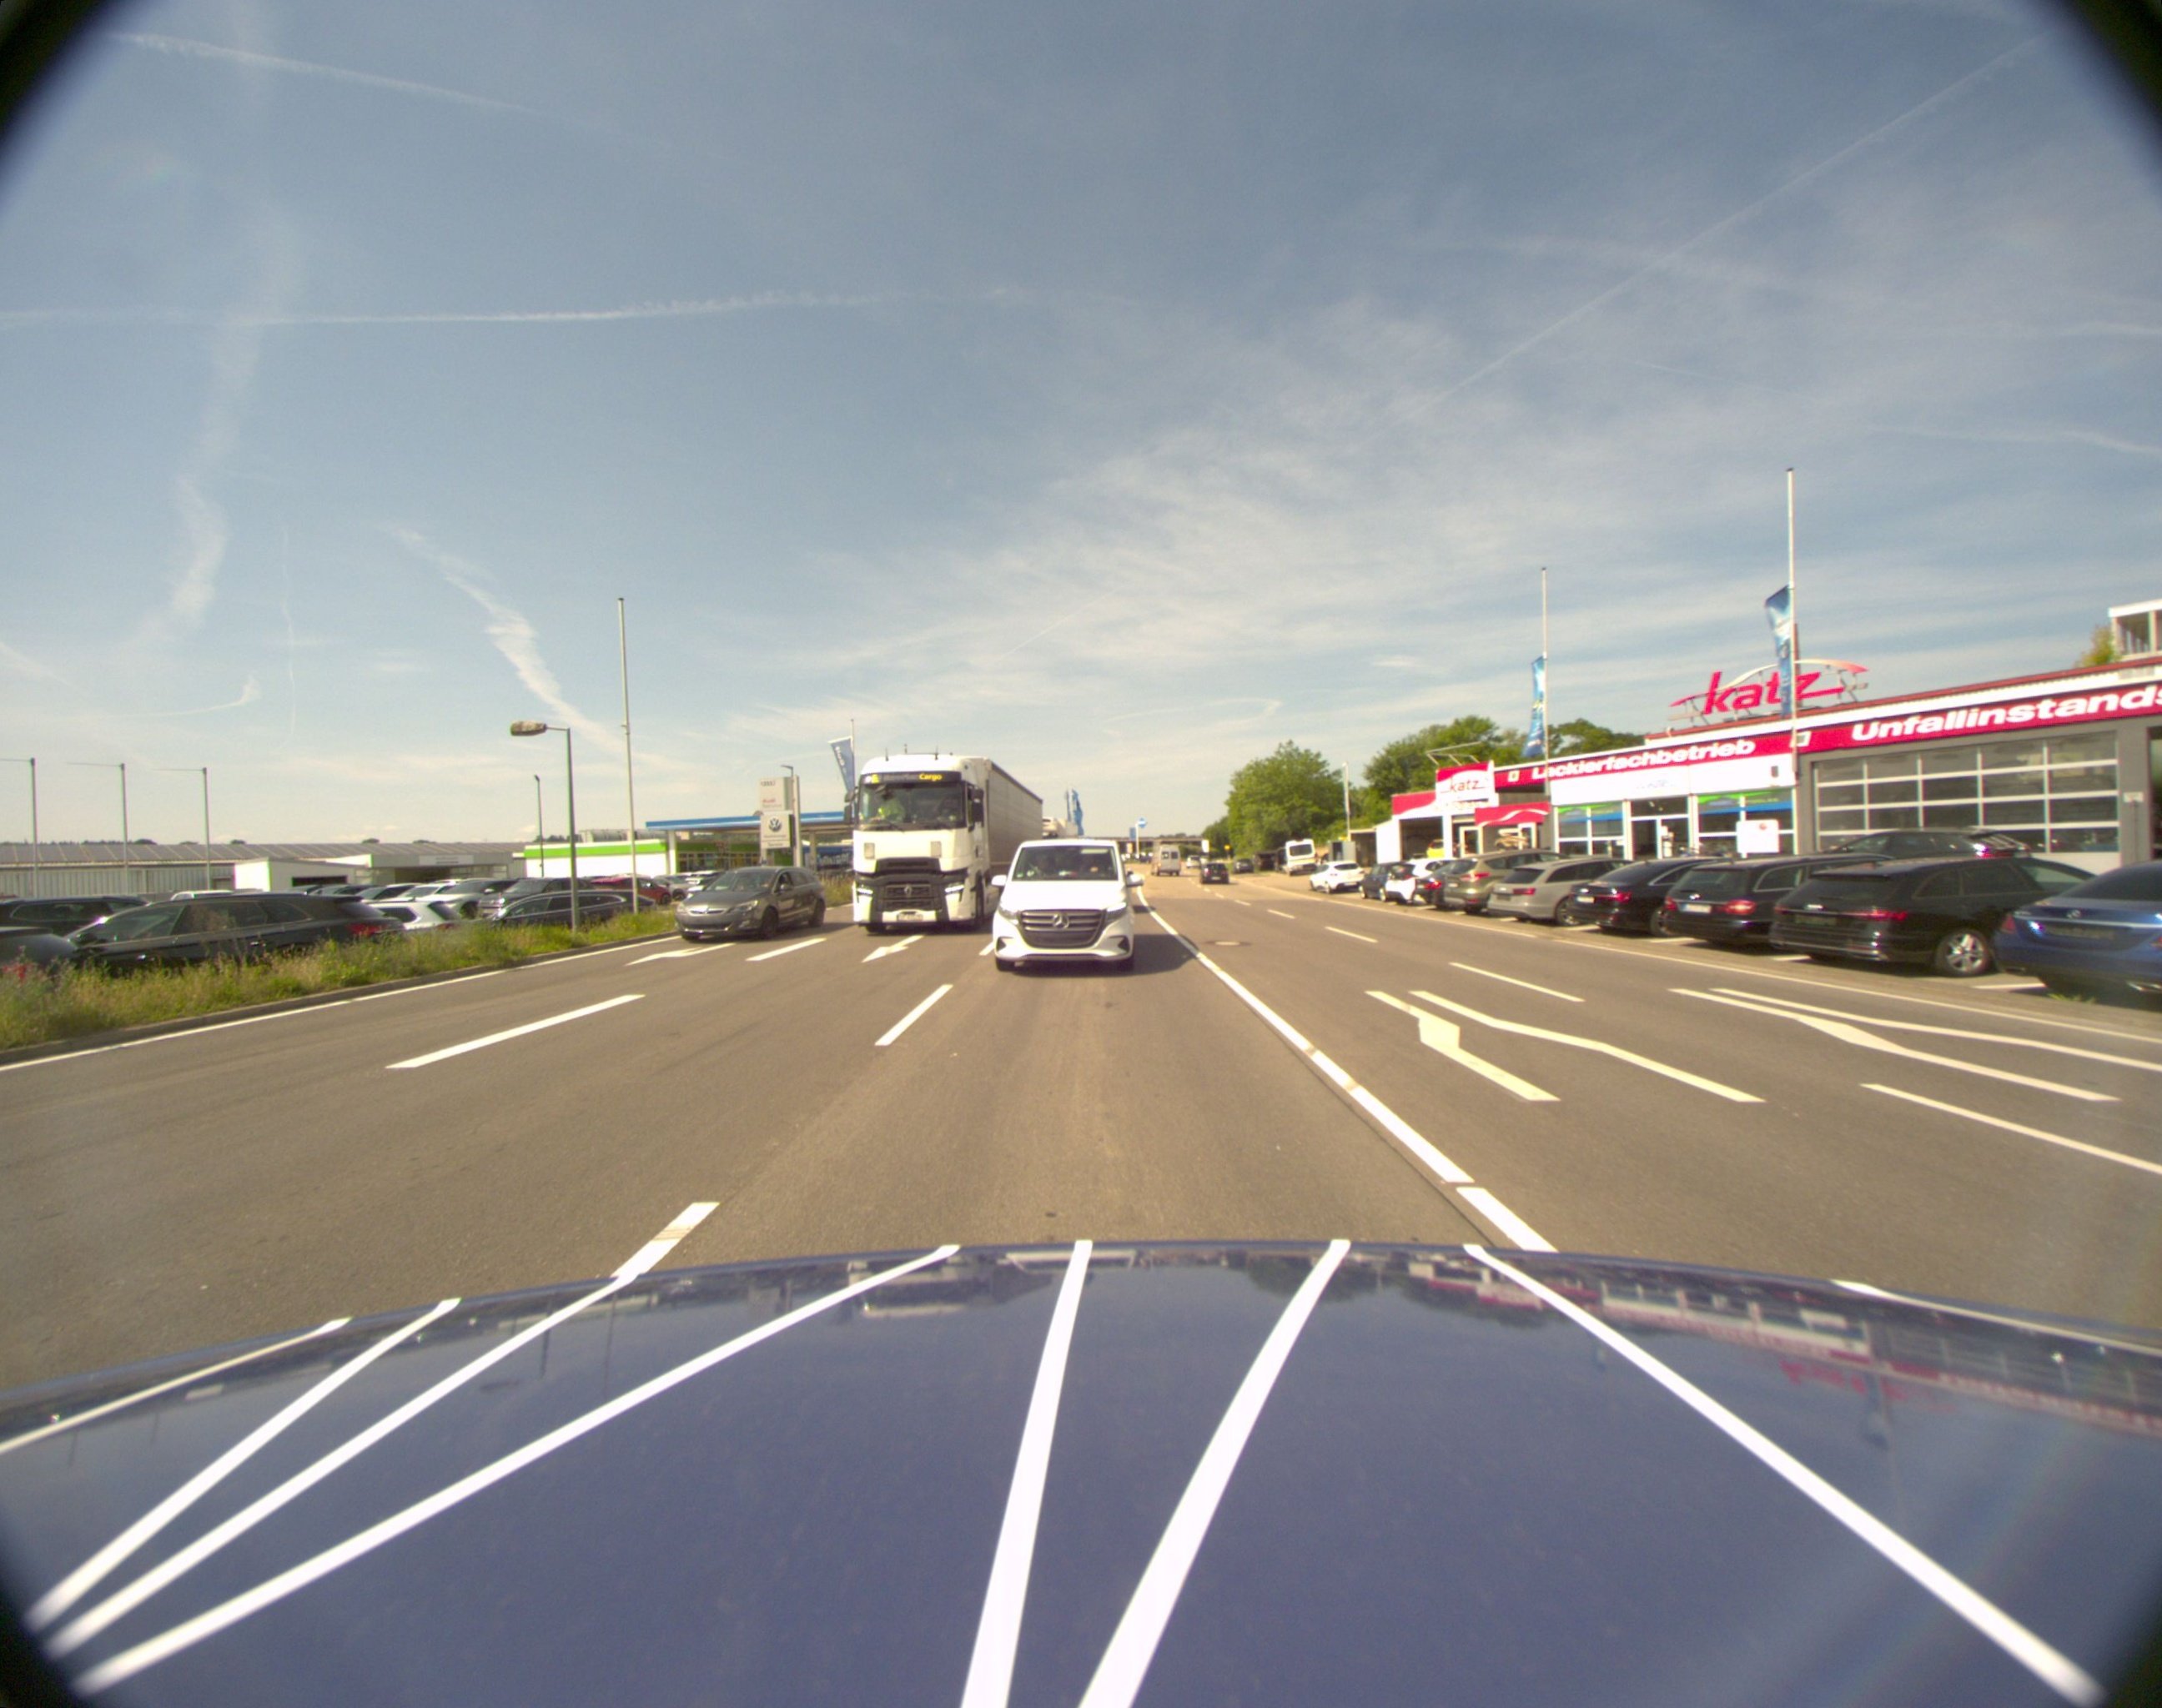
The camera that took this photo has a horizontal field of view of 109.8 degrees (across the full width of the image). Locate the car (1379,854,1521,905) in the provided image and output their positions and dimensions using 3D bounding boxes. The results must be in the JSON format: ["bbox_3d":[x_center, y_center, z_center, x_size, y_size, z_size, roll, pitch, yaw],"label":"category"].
[{"bbox_3d":[12.245,0.821,25.381,3.798,1.542,1.941,-1,0,-1],"label":"car"}]

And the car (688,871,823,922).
[{"bbox_3d":[-12.238,1.539,28.687,4.544,1.645,1.772,-1,0,-26],"label":"car"}]

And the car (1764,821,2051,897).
[{"bbox_3d":[20.576,0.114,19.242,1.877,1.644,4.530,-2,0,-16],"label":"car"}]

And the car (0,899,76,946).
[{"bbox_3d":[-37.040,2.355,24.940,1.819,1.466,4.545,-1,0,23],"label":"car"}]

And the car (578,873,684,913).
[{"bbox_3d":[-20.516,1.741,34.888,1.774,1.571,4.540,-1,0,6],"label":"car"}]

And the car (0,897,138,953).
[{"bbox_3d":[-31.266,2.107,22.064,1.819,1.423,4.491,-1,0,23],"label":"car"}]

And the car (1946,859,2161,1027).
[{"bbox_3d":[11.689,0.782,7.545,3.997,1.445,1.906,-1,0,1],"label":"car"}]

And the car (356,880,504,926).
[{"bbox_3d":[-25.849,1.899,30.417,1.689,1.517,4.540,-1,0,6],"label":"car"}]

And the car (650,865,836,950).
[{"bbox_3d":[-7.147,1.046,16.668,1.998,1.511,4.449,-1,0,1],"label":"car"}]

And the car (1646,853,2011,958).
[{"bbox_3d":[11.806,0.775,12.255,3.877,1.490,1.949,-1,0,3],"label":"car"}]

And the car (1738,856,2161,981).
[{"bbox_3d":[11.684,0.791,10.210,3.997,1.443,1.946,-1,0,1],"label":"car"}]

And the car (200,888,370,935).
[{"bbox_3d":[-27.634,1.992,26.432,4.530,1.450,1.951,-1,0,12],"label":"car"}]

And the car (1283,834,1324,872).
[{"bbox_3d":[16.586,-0.083,56.432,2.435,2.529,6.050,-2,0,20],"label":"car"}]

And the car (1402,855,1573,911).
[{"bbox_3d":[12.014,0.827,22.646,3.997,1.516,2.000,-1,0,-1],"label":"car"}]

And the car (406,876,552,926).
[{"bbox_3d":[-23.418,1.783,29.835,1.774,1.645,4.540,-1,0,6],"label":"car"}]

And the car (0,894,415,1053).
[{"bbox_3d":[-11.974,1.500,10.413,4.006,1.645,1.772,-1,0,-32],"label":"car"}]

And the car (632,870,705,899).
[{"bbox_3d":[-24.946,1.830,46.164,1.774,1.571,4.240,-1,0,6],"label":"car"}]

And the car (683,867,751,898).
[{"bbox_3d":[-22.168,1.703,46.415,1.712,1.702,4.262,-1,0,6],"label":"car"}]

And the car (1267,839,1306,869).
[{"bbox_3d":[18.284,-0.006,67.828,2.438,2.529,5.341,-2,0,5],"label":"car"}]

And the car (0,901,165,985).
[{"bbox_3d":[-24.109,2.016,16.953,1.774,1.645,4.434,-1,0,4],"label":"car"}]

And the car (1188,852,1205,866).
[{"bbox_3d":[14.854,0.620,97.462,2.053,1.812,4.512,0,0,11],"label":"car"}]

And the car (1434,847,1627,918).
[{"bbox_3d":[11.799,0.719,20.175,3.996,1.717,1.871,-1,0,2],"label":"car"}]

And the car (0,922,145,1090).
[{"bbox_3d":[-12.640,1.632,7.435,4.007,1.543,1.771,-1,0,-35],"label":"car"}]

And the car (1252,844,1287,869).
[{"bbox_3d":[18.246,0.198,73.687,2.438,2.250,5.341,-2,0,5],"label":"car"}]

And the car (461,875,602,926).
[{"bbox_3d":[-20.909,1.728,29.181,1.774,1.645,4.540,-1,0,6],"label":"car"}]

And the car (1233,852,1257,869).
[{"bbox_3d":[15.084,0.566,70.180,1.827,1.517,4.461,0,0,7],"label":"car"}]

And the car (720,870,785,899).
[{"bbox_3d":[-19.819,1.800,46.008,1.774,1.571,4.150,-1,0,6],"label":"car"}]

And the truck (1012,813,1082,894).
[{"bbox_3d":[-1.663,-0.036,42.084,2.646,3.963,9.242,-1,0,4],"label":"truck"}]

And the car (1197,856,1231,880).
[{"bbox_3d":[8.680,0.886,49.750,1.858,1.452,4.002,-1,0,6],"label":"car"}]

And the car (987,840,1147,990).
[{"bbox_3d":[-0.143,0.769,12.528,1.993,1.858,5.803,-1,0,1],"label":"car"}]

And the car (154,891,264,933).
[{"bbox_3d":[-40.133,2.600,34.967,4.527,1.718,2.072,-1,0,24],"label":"car"}]

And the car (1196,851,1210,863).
[{"bbox_3d":[18.166,0.460,113.376,1.975,1.812,4.205,0,0,7],"label":"car"}]

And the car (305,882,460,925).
[{"bbox_3d":[-28.152,1.949,30.849,1.774,1.432,4.540,-1,0,6],"label":"car"}]

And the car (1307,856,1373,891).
[{"bbox_3d":[11.934,0.856,35.298,1.765,1.406,4.001,-5,0,3],"label":"car"}]

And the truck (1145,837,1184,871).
[{"bbox_3d":[7.213,0.014,66.394,2.442,2.820,6.040,-1,0,-2],"label":"truck"}]

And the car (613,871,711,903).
[{"bbox_3d":[-23.214,1.820,42.180,4.532,1.571,1.777,-1,0,8],"label":"car"}]

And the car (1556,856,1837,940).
[{"bbox_3d":[11.831,0.814,14.831,3.996,1.474,1.756,-1,0,3],"label":"car"}]

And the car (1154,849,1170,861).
[{"bbox_3d":[12.675,0.173,119.092,2.052,1.812,4.512,0,0,12],"label":"car"}]

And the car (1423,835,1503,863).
[{"bbox_3d":[24.315,-0.315,48.369,4.539,1.644,1.873,-2,0,-17],"label":"car"}]

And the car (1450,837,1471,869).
[{"bbox_3d":[22.090,-0.078,44.187,0.881,1.825,0.846,-2,0,14],"label":"car"}]

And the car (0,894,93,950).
[{"bbox_3d":[-33.687,2.120,22.809,1.819,1.574,4.545,-1,0,23],"label":"car"}]

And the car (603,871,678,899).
[{"bbox_3d":[-27.213,1.879,47.126,1.720,1.571,4.326,-1,0,6],"label":"car"}]

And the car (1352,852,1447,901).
[{"bbox_3d":[11.836,0.791,28.566,1.998,1.546,4.001,-5,0,4],"label":"car"}]

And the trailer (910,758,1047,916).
[{"bbox_3d":[-3.033,-0.465,26.204,2.613,4.203,11.294,-1,0,3],"label":"trailer"}]

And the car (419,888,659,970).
[{"bbox_3d":[-12.939,1.722,18.527,4.545,1.571,1.772,-1,0,-30],"label":"car"}]

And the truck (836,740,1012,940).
[{"bbox_3d":[-3.433,-0.270,18.277,2.647,3.963,6.042,-1,0,3],"label":"truck"}]

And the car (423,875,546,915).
[{"bbox_3d":[-28.080,1.881,35.992,1.773,1.645,4.541,-1,0,10],"label":"car"}]

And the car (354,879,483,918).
[{"bbox_3d":[-32.689,2.162,37.660,1.772,1.645,4.543,-1,0,17],"label":"car"}]

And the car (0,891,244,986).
[{"bbox_3d":[-21.840,1.757,16.649,1.774,1.645,4.539,-1,0,4],"label":"car"}]

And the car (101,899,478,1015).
[{"bbox_3d":[-12.956,1.617,12.833,4.005,1.449,1.772,-1,0,-25],"label":"car"}]

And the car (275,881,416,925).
[{"bbox_3d":[-30.693,2.001,31.898,1.607,1.523,4.131,-1,0,6],"label":"car"}]

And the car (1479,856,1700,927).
[{"bbox_3d":[11.672,0.823,17.597,3.974,1.484,1.739,-1,0,-2],"label":"car"}]
